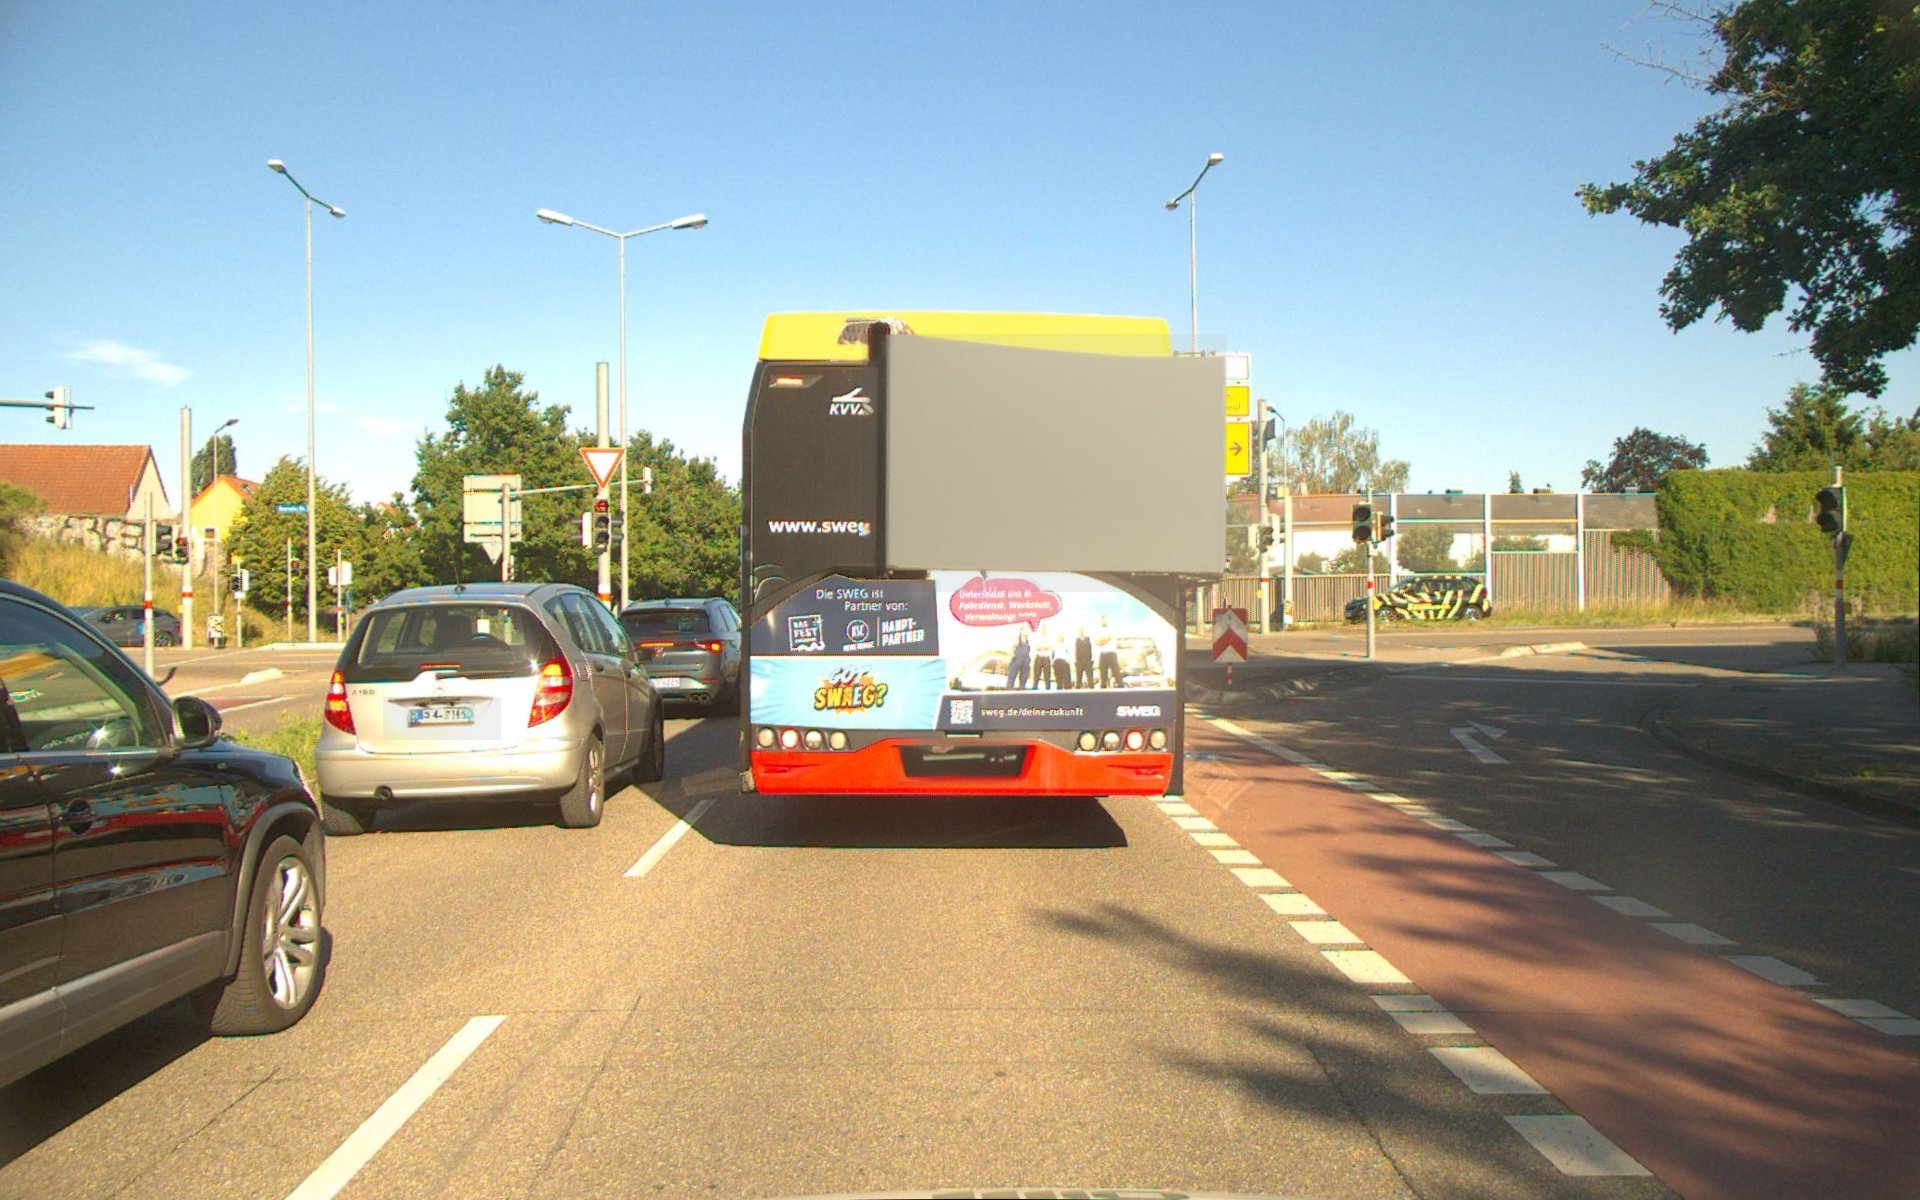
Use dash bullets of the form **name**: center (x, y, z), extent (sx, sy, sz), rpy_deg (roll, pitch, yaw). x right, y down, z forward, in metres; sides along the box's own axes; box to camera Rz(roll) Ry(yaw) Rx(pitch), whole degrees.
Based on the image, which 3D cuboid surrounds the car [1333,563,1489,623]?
- **car**: center (13.068, -0.202, 48.083), extent (3.987, 1.552, 1.767), rpy_deg (-2, 0, -5)

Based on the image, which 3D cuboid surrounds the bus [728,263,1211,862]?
- **bus**: center (0.019, -0.253, 14.891), extent (2.589, 3.222, 11.860), rpy_deg (0, 0, 0)

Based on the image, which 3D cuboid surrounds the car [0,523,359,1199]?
- **car**: center (-3.146, 0.687, 4.302), extent (1.736, 1.682, 3.999), rpy_deg (-2, 0, -1)

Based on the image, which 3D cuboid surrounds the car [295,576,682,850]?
- **car**: center (-3.219, 0.682, 12.128), extent (1.725, 1.617, 3.999), rpy_deg (-2, 0, -1)

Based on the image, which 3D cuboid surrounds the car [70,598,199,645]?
- **car**: center (-27.558, 0.698, 55.284), extent (1.546, 1.484, 3.579), rpy_deg (-1, 0, 37)

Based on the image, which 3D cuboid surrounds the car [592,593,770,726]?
- **car**: center (-3.451, 0.677, 21.057), extent (1.658, 1.484, 3.750), rpy_deg (-2, 0, -1)
